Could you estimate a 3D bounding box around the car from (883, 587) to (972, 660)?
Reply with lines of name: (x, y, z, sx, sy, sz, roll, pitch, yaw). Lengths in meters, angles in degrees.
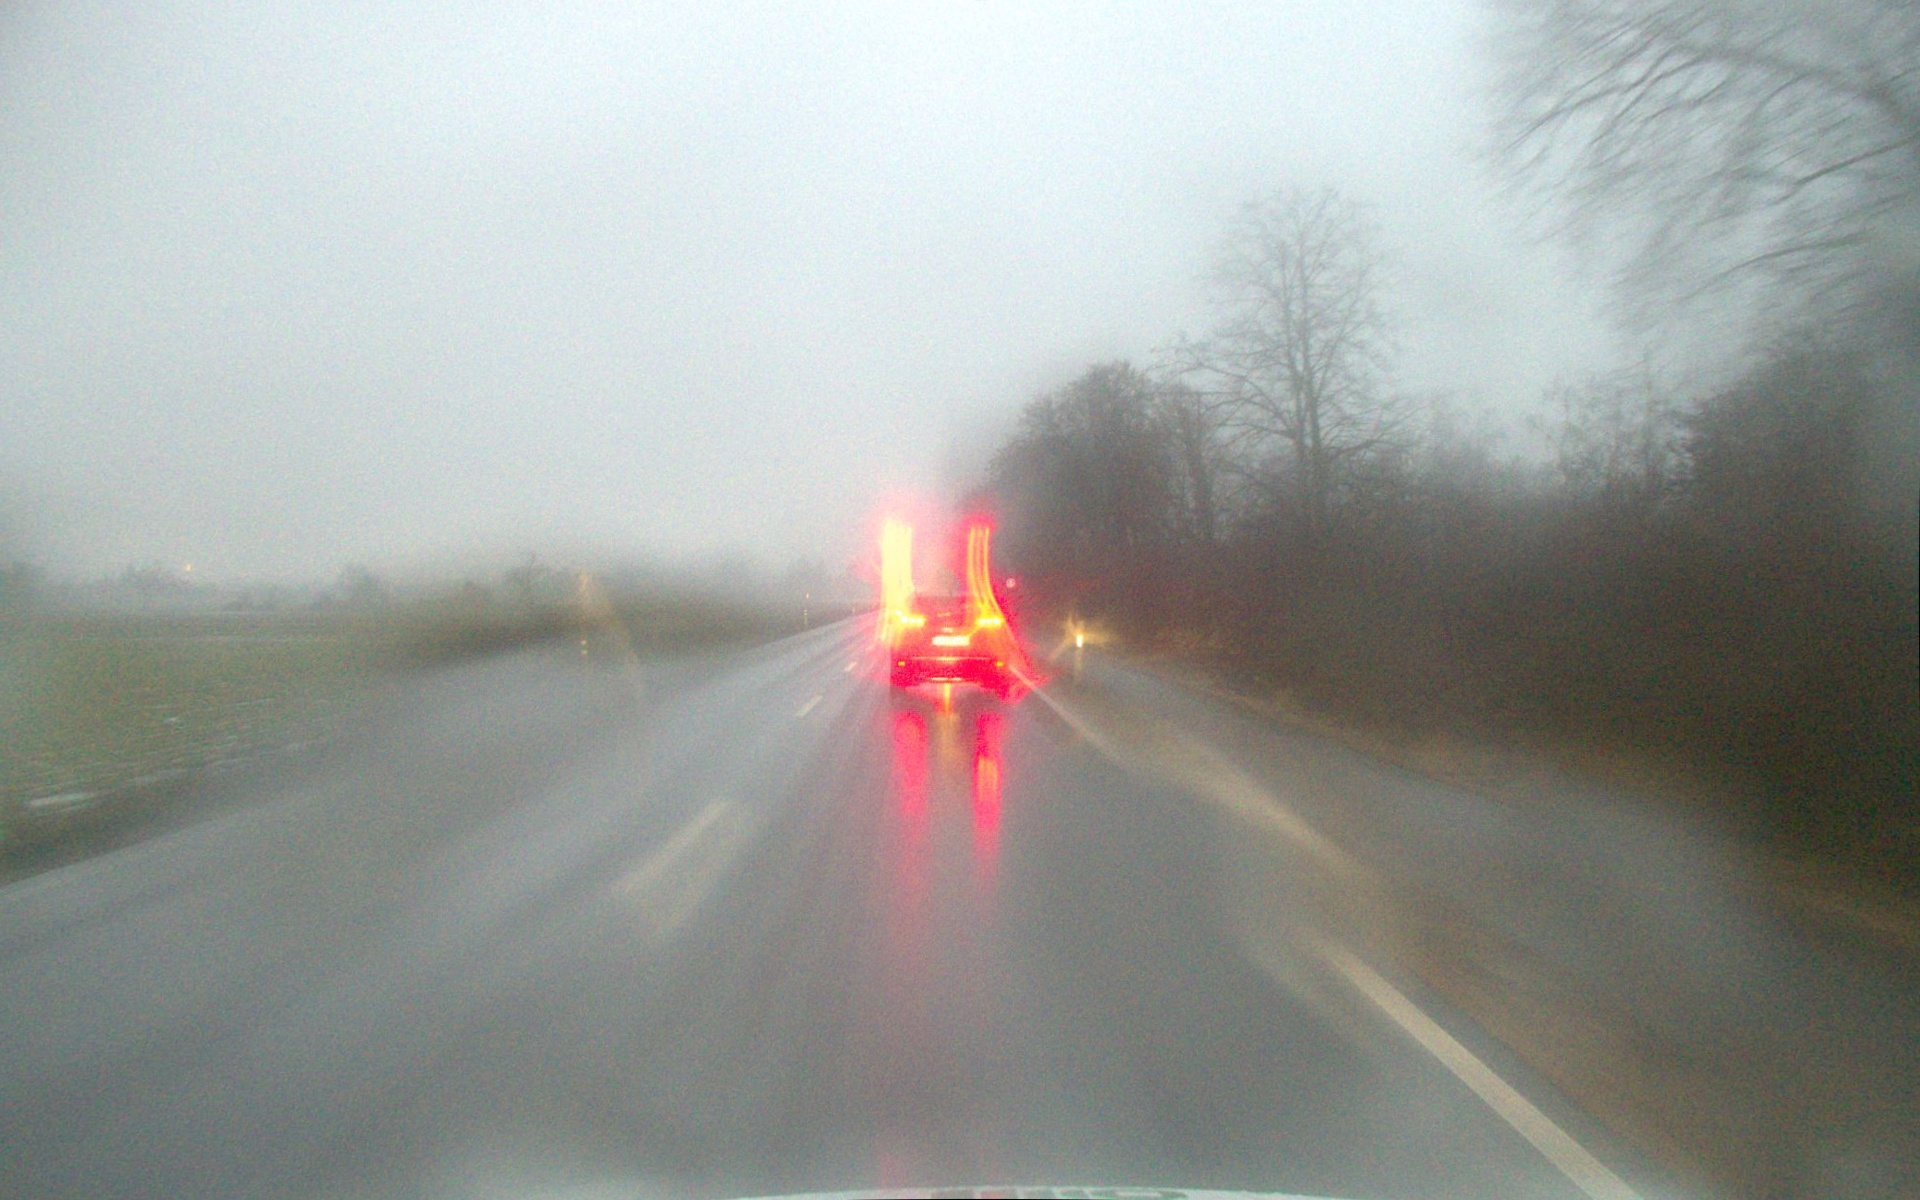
car: (-0.966, 0.670, 50.456, 2.539, 2.049, 5.803, 1, 0, -1)

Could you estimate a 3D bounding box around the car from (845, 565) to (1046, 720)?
car: (-0.231, 0.602, 25.963, 2.763, 2.113, 5.803, 1, 0, -1)
